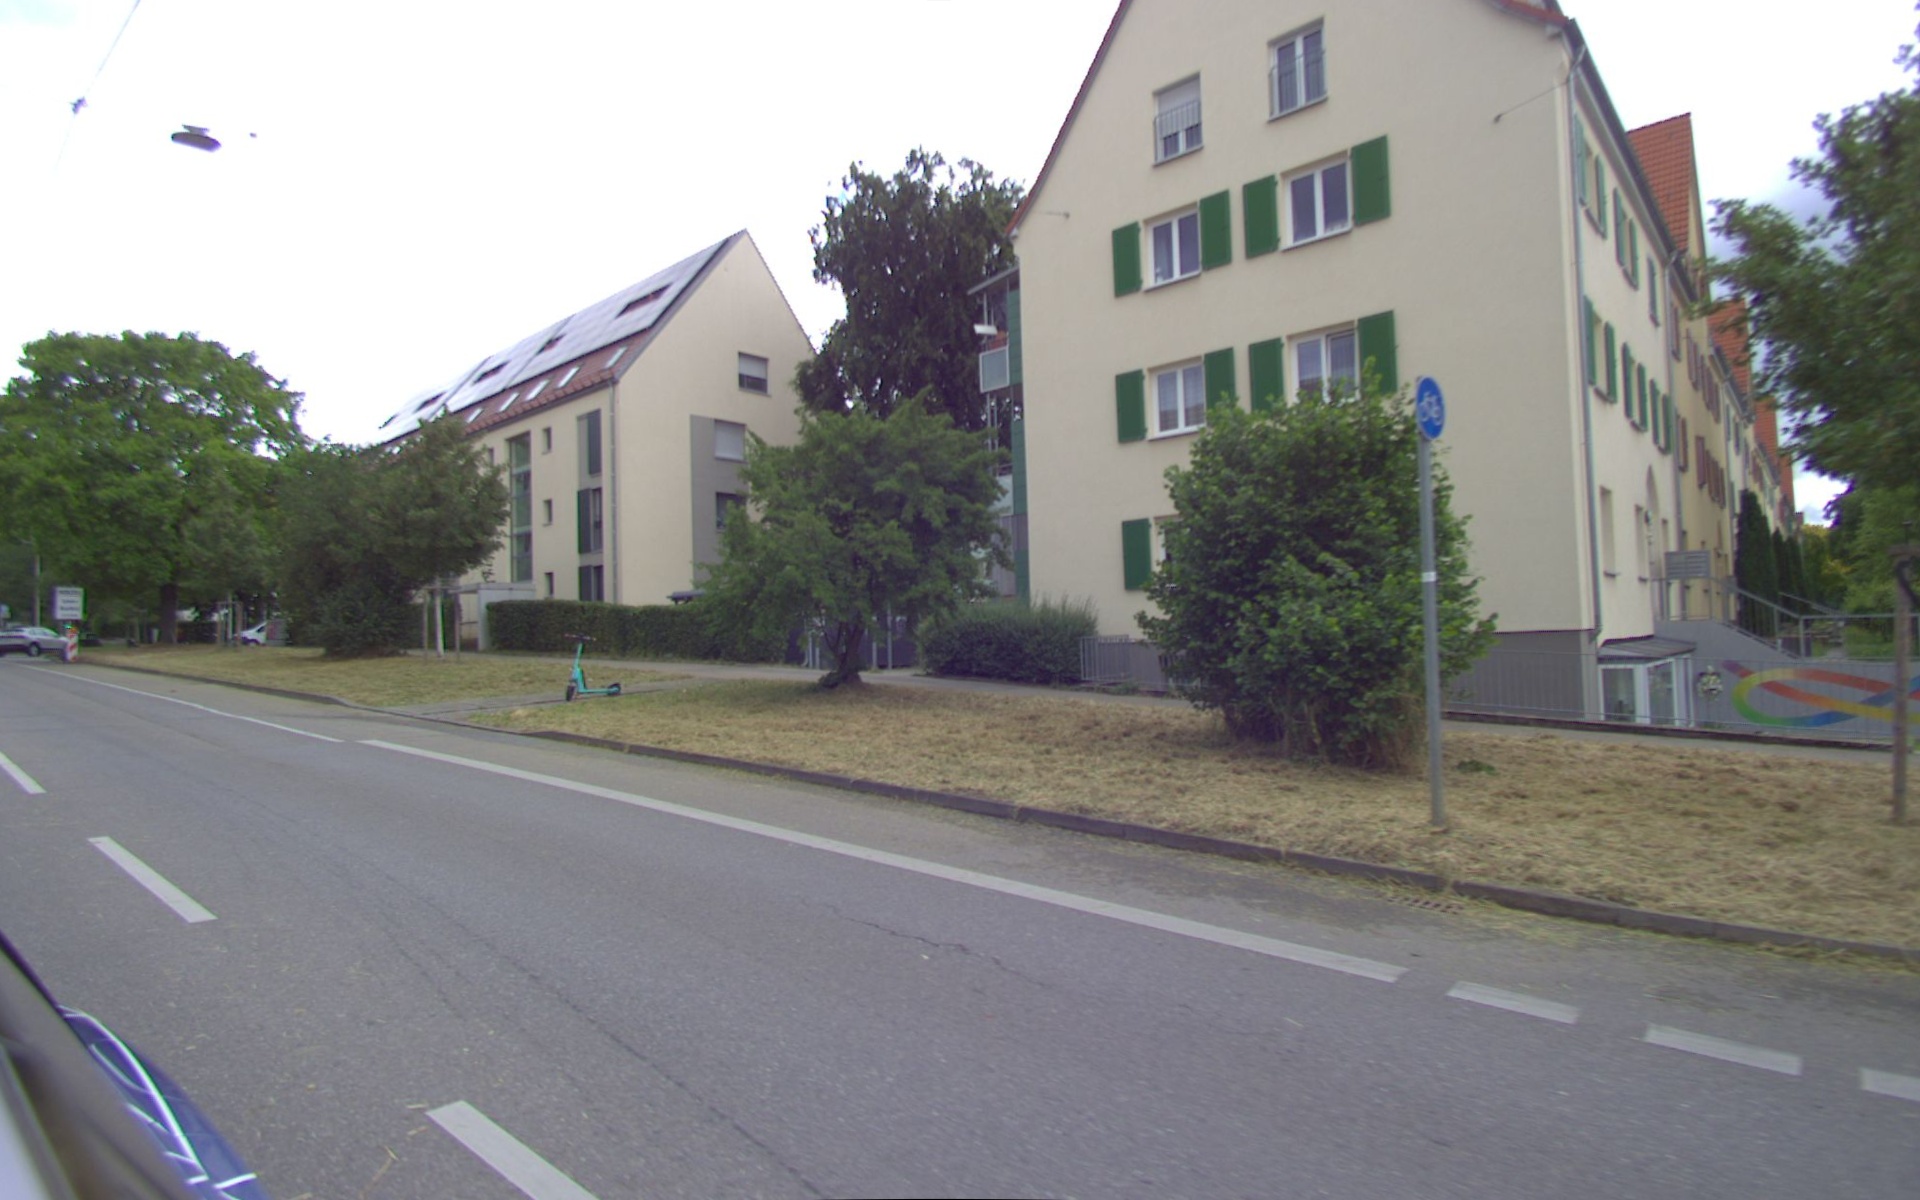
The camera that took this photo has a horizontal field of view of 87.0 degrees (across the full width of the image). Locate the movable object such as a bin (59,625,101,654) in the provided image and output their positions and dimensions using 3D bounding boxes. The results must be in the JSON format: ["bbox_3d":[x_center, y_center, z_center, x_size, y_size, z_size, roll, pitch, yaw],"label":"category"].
[{"bbox_3d":[-61.588,2.752,70.829,3.234,1.918,1.088,-1,-1,27],"label":"movable object such as a bin"}]

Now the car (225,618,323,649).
[{"bbox_3d":[-45.666,2.175,67.421,1.999,1.932,5.086,-1,-1,41],"label":"car"}]

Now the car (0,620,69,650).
[{"bbox_3d":[-48.494,1.811,52.626,1.776,1.475,4.042,1,-2,-18],"label":"car"}]

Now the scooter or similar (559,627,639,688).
[{"bbox_3d":[-6.716,1.051,18.874,0.466,1.094,1.357,-1,-2,37],"label":"scooter or similar"}]
